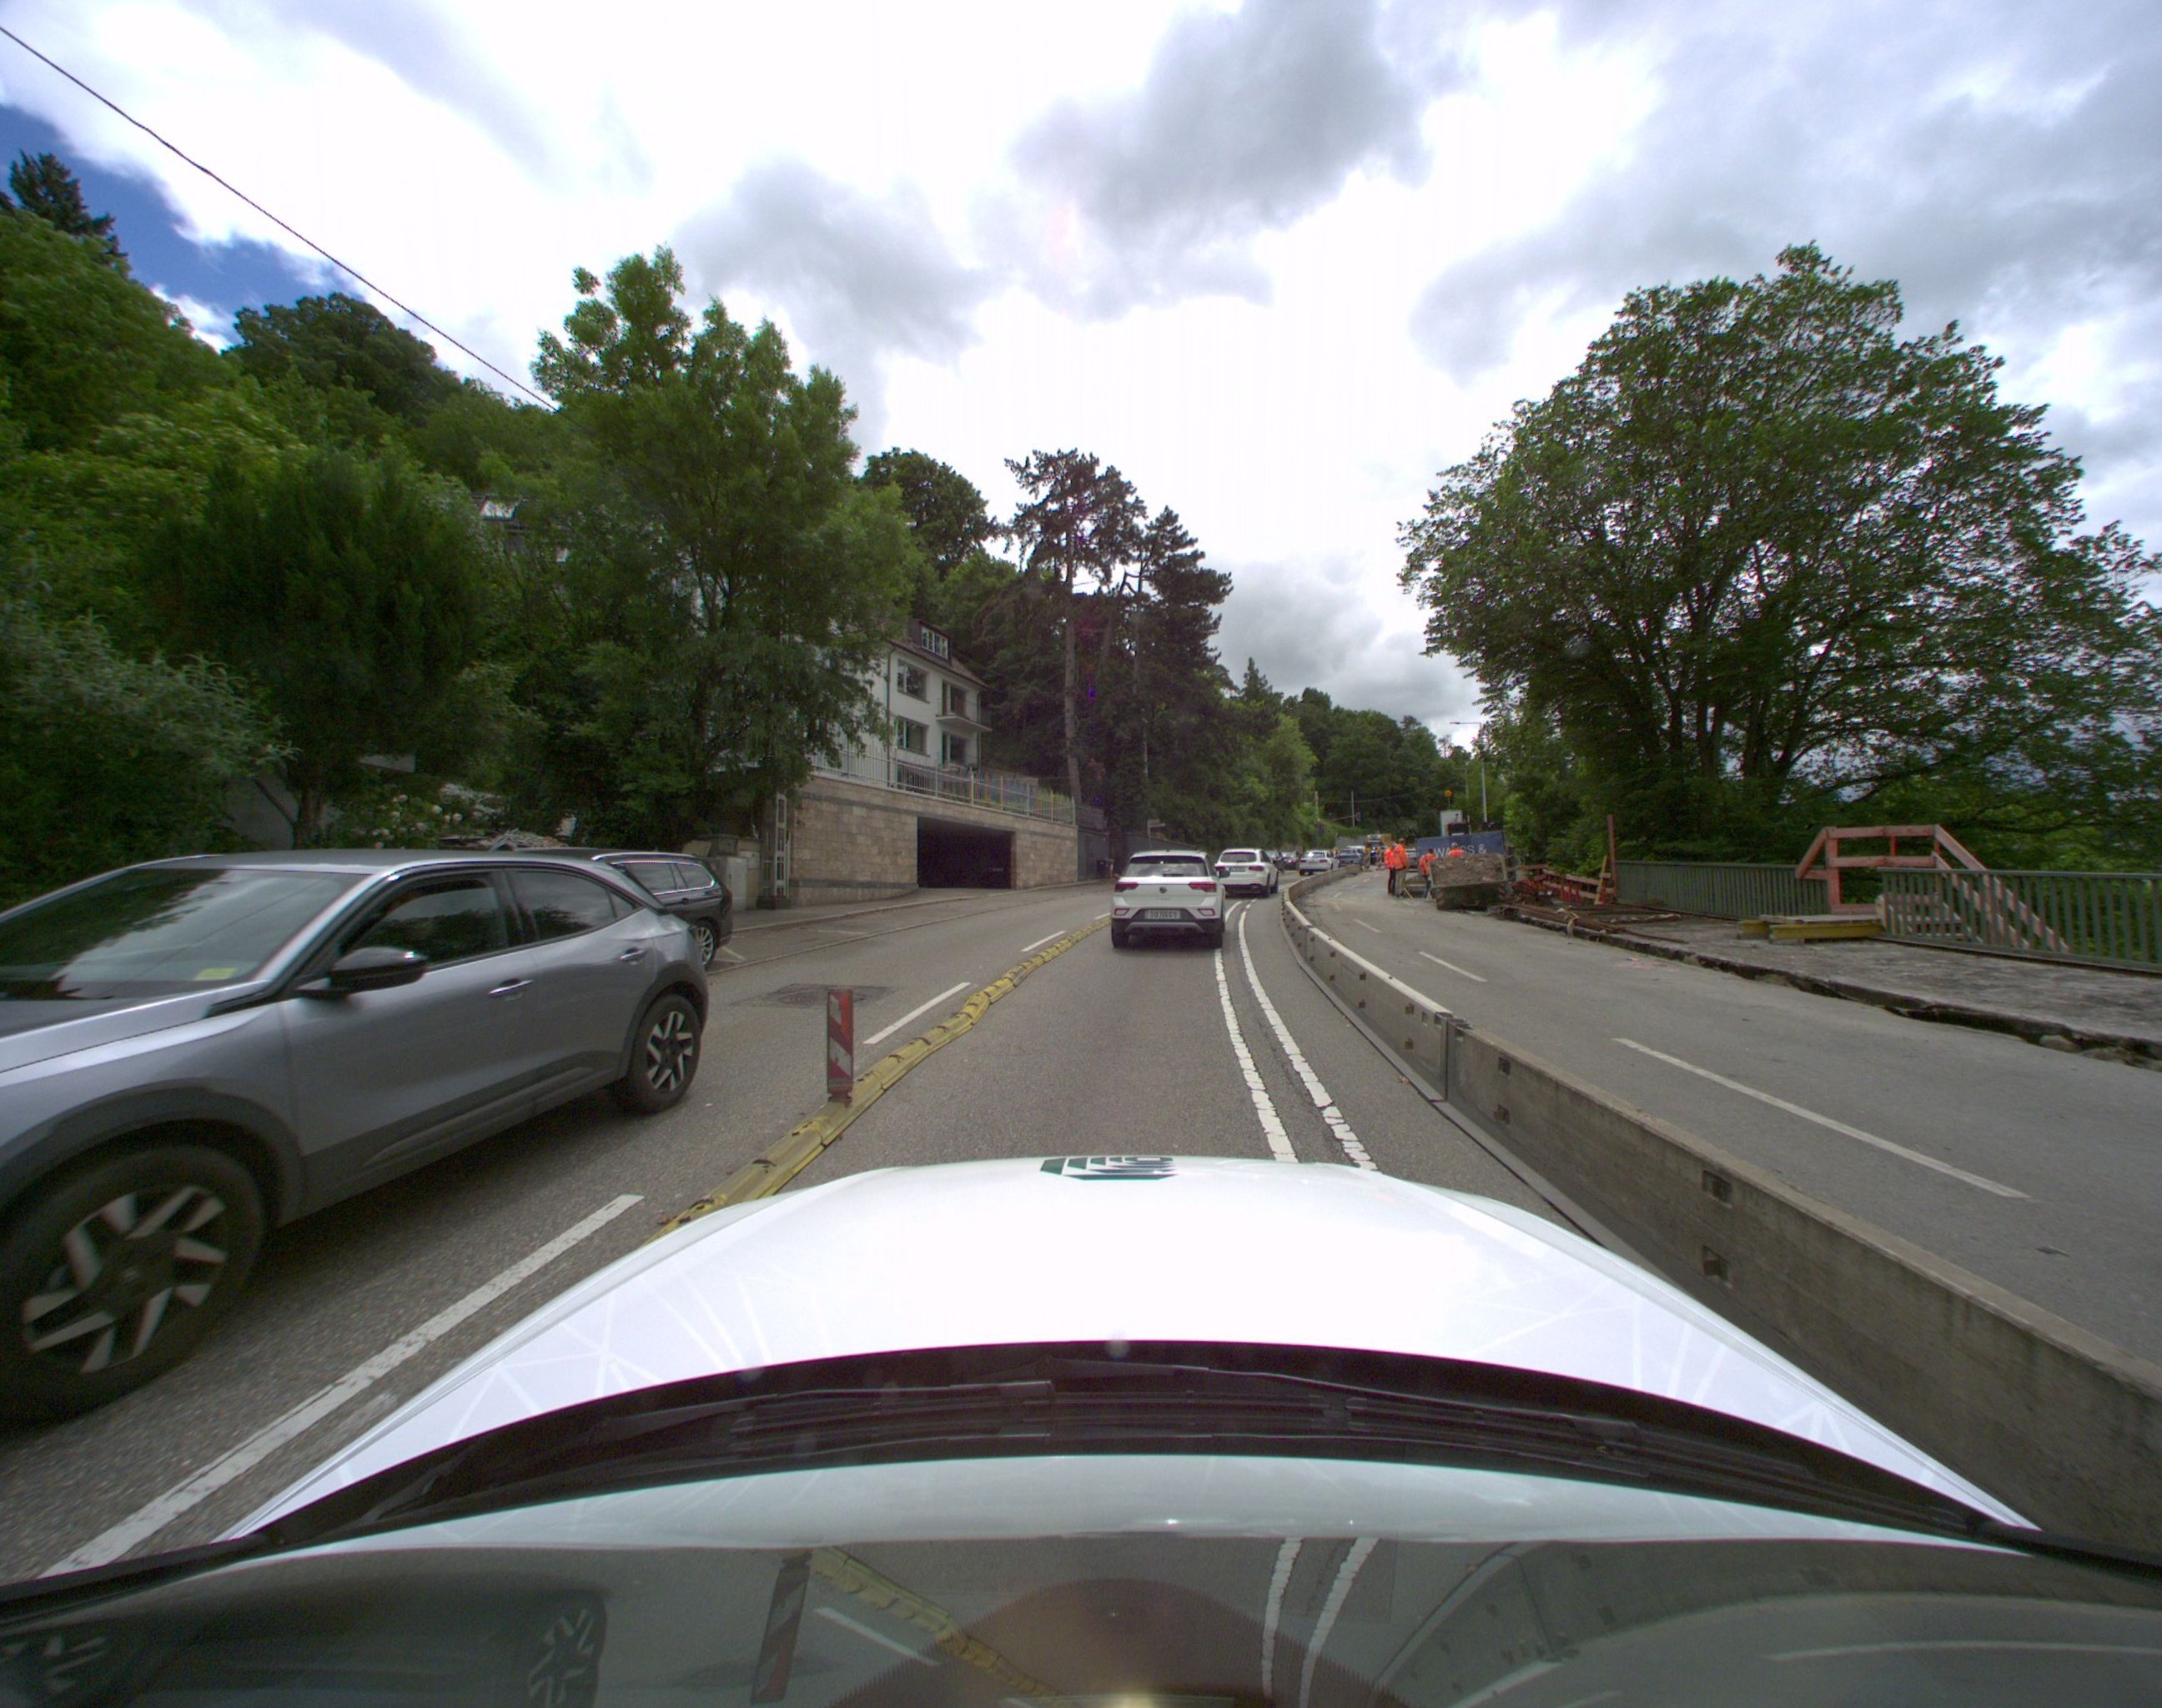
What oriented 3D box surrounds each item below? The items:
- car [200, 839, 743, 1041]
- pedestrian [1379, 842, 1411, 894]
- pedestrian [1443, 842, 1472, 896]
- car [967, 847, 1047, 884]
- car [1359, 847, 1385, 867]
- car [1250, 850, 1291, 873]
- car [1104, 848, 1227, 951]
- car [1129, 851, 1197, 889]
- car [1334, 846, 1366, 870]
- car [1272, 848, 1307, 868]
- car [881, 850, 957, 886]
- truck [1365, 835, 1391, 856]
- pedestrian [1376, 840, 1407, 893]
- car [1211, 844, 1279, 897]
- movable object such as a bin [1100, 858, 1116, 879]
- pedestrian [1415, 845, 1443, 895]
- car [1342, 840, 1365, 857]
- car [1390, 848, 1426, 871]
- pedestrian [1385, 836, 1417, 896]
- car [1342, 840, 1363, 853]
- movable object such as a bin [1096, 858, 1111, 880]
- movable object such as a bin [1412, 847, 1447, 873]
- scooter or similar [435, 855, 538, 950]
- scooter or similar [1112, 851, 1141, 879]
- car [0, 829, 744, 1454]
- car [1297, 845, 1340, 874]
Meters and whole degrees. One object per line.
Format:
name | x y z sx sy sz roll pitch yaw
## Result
car | -5.663 0.652 8.561 1.726 1.451 4.693 2 0 7
pedestrian | 10.632 0.471 27.592 0.870 1.731 0.881 -1 0 11
pedestrian | 11.936 0.472 25.831 0.775 1.688 0.790 -1 0 27
car | -3.007 0.512 33.762 1.766 1.453 3.722 0 -2 22
car | 25.866 0.225 72.345 1.793 1.663 4.023 -2 0 25
car | 12.538 0.446 53.824 1.751 1.452 4.333 1 1 25
car | 1.617 0.674 14.267 1.798 1.531 4.012 -1 0 11
car | 3.460 0.626 33.608 1.753 1.435 4.330 -1 0 20
car | 19.806 0.244 59.887 1.793 1.663 4.023 -2 0 25
car | 15.668 0.268 61.182 1.751 1.452 4.333 1 1 25
car | -6.772 0.622 34.424 1.758 1.419 3.558 0 -2 14
truck | 45.848 -1.277 125.580 2.877 3.155 7.629 -1 -1 26
pedestrian | 10.874 0.423 28.568 0.870 1.822 0.881 -1 0 11
car | 5.749 0.527 28.242 1.795 1.663 4.019 -2 0 18
movable object such as a bin | 1.271 0.700 38.334 0.543 0.977 0.513 -1 -1 25
pedestrian | 11.323 0.522 26.490 0.775 1.608 0.671 -1 0 27
car | 27.549 -0.578 82.264 1.793 1.663 4.023 -2 0 25
car | 20.198 0.335 50.258 1.778 1.368 4.023 -1 0 26
pedestrian | 10.437 0.387 26.614 0.688 1.906 0.825 -1 0 -1
car | 29.811 -0.819 89.467 1.752 1.452 4.333 1 1 24
movable object such as a bin | 1.043 0.701 37.827 0.543 0.977 0.513 -1 -1 25
movable object such as a bin | 19.813 0.318 46.316 1.386 1.425 1.911 0 0 9
scooter or similar | -8.175 0.634 11.243 0.413 1.232 1.124 2 0 10
scooter or similar | 2.061 0.501 36.922 1.305 1.255 0.466 0 0 -3
car | -3.354 0.690 3.580 1.759 1.518 4.031 0 0 5
car | 14.119 0.299 48.295 1.793 1.663 4.023 -2 0 25
